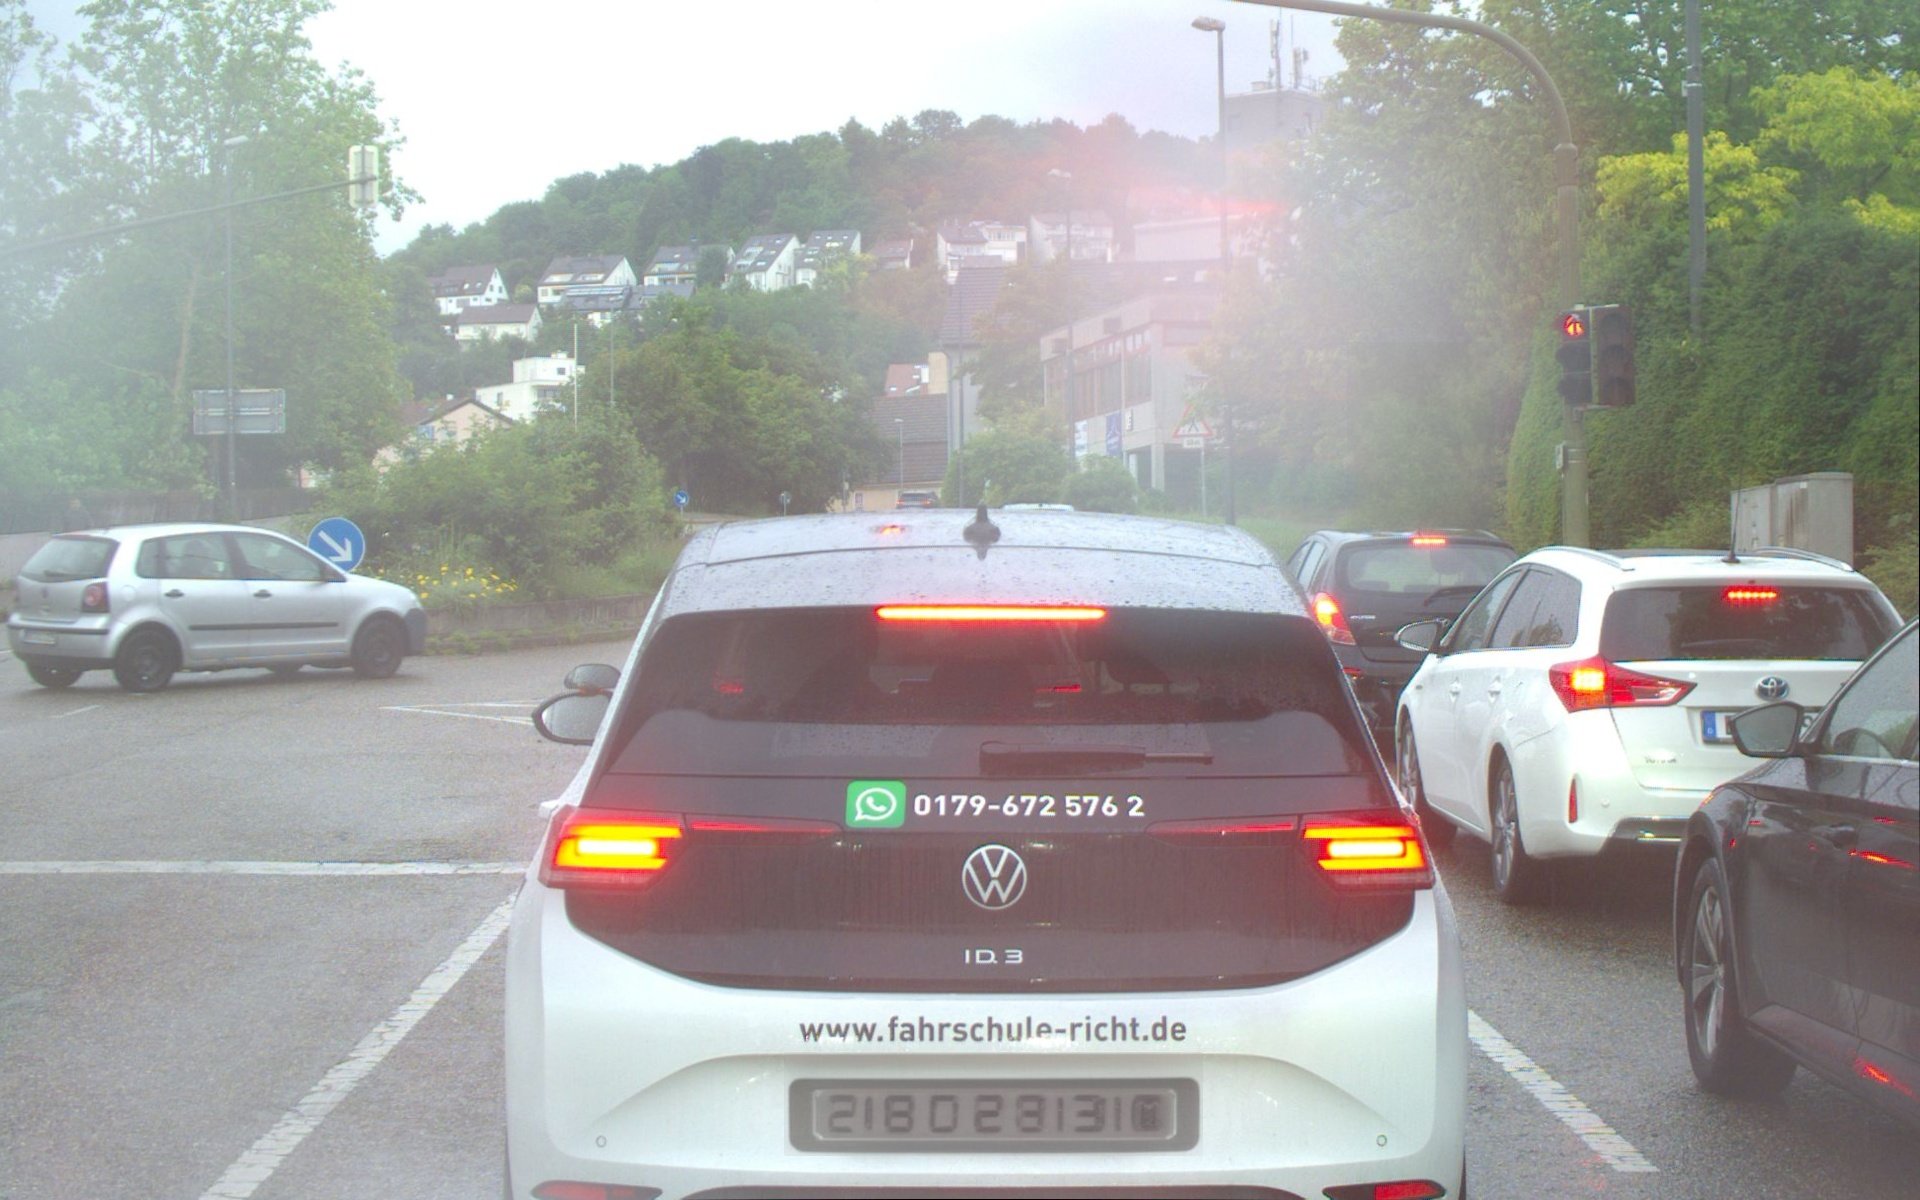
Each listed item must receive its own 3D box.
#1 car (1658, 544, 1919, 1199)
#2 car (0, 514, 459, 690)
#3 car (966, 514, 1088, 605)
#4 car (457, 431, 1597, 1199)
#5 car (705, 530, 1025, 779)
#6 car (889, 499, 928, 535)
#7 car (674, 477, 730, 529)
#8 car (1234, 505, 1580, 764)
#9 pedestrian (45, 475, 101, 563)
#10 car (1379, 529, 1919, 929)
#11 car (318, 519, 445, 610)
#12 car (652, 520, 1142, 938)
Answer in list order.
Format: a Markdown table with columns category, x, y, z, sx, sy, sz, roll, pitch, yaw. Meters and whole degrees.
| category | x | y | z | sx | sy | sz | roll | pitch | yaw |
| --- | --- | --- | --- | --- | --- | --- | --- | --- | --- |
| car | 2.871 | 0.645 | 7.487 | 1.838 | 1.461 | 4.350 | 1 | 1 | 1 |
| car | -6.660 | -0.011 | 31.086 | 3.989 | 1.462 | 1.585 | -2 | 1 | -42 |
| car | 1.094 | -0.699 | 57.381 | 1.761 | 1.413 | 3.749 | -1 | 2 | -3 |
| car | 0.058 | 0.501 | 7.931 | 1.837 | 1.623 | 4.616 | 1 | 1 | -1 |
| car | -0.596 | 0.281 | 21.973 | 1.837 | 1.395 | 3.831 | 1 | 1 | -1 |
| car | -2.453 | -3.950 | 164.093 | 1.775 | 1.576 | 4.000 | -2 | 1 | 0 |
| car | -10.479 | -3.925 | 139.906 | 1.993 | 2.007 | 4.000 | 1 | 0 | 0 |
| car | 2.941 | 0.190 | 23.391 | 1.775 | 1.576 | 4.000 | 1 | 1 | 0 |
| pedestrian | -16.186 | -1.484 | 62.757 | 0.760 | 1.562 | 0.825 | -2 | 1 | -1 |
| car | 3.057 | 0.449 | 14.991 | 1.837 | 1.461 | 4.117 | 1 | 1 | -1 |
| car | -12.406 | -0.782 | 73.945 | 1.993 | 1.798 | 4.000 | -3 | 1 | 0 |
| car | -0.283 | 0.446 | 15.202 | 1.837 | 1.549 | 4.175 | 1 | 1 | -1 |
